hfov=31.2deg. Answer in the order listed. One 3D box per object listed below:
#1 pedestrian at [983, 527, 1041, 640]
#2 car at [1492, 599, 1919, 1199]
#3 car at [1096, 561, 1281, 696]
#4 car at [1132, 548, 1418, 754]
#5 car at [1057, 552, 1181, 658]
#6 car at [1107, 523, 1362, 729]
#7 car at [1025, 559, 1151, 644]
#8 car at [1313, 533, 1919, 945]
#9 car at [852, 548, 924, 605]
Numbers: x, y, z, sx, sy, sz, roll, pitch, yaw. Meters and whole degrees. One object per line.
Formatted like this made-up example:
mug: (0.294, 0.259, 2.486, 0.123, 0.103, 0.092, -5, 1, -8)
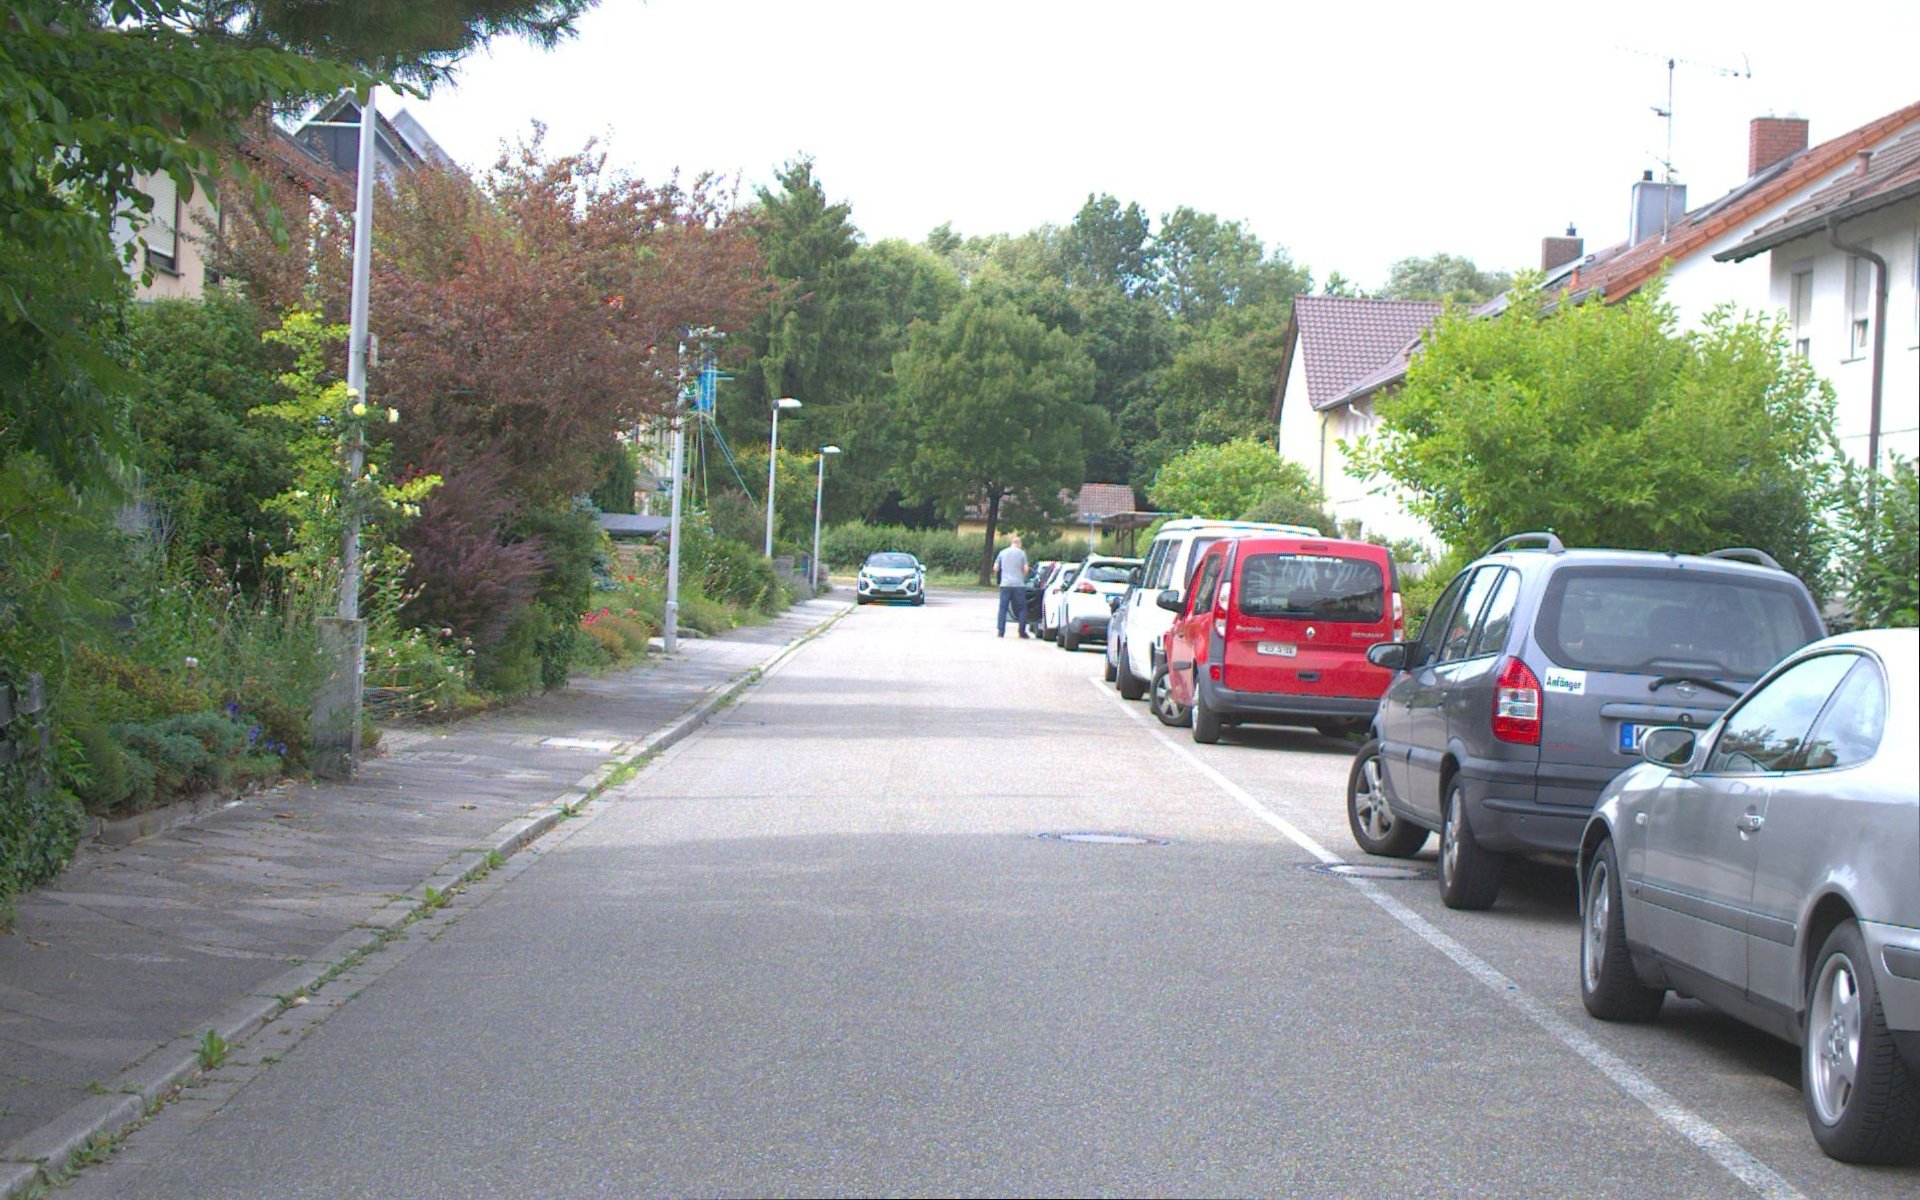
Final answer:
pedestrian: (0.946, -0.305, 62.631, 0.912, 2.007, 0.951, 2, 1, -4)
car: (3.027, 0.809, 10.174, 1.867, 1.402, 4.768, 4, 1, -3)
car: (2.663, 0.299, 40.887, 1.900, 1.454, 4.129, 2, 1, 0)
car: (2.732, 0.394, 30.782, 1.810, 1.645, 4.411, 2, 1, -4)
car: (2.537, 0.046, 55.650, 1.714, 1.538, 3.974, 4, 1, 0)
car: (2.771, 0.211, 35.781, 2.020, 1.940, 4.748, 2, 1, -2)
car: (2.302, 0.000, 62.987, 1.838, 1.408, 4.637, 2, 1, -3)
car: (2.992, 0.543, 16.612, 1.867, 1.648, 4.465, 2, 1, -2)
car: (-2.072, -0.716, 100.246, 1.934, 1.551, 4.634, 2, 1, 0)
